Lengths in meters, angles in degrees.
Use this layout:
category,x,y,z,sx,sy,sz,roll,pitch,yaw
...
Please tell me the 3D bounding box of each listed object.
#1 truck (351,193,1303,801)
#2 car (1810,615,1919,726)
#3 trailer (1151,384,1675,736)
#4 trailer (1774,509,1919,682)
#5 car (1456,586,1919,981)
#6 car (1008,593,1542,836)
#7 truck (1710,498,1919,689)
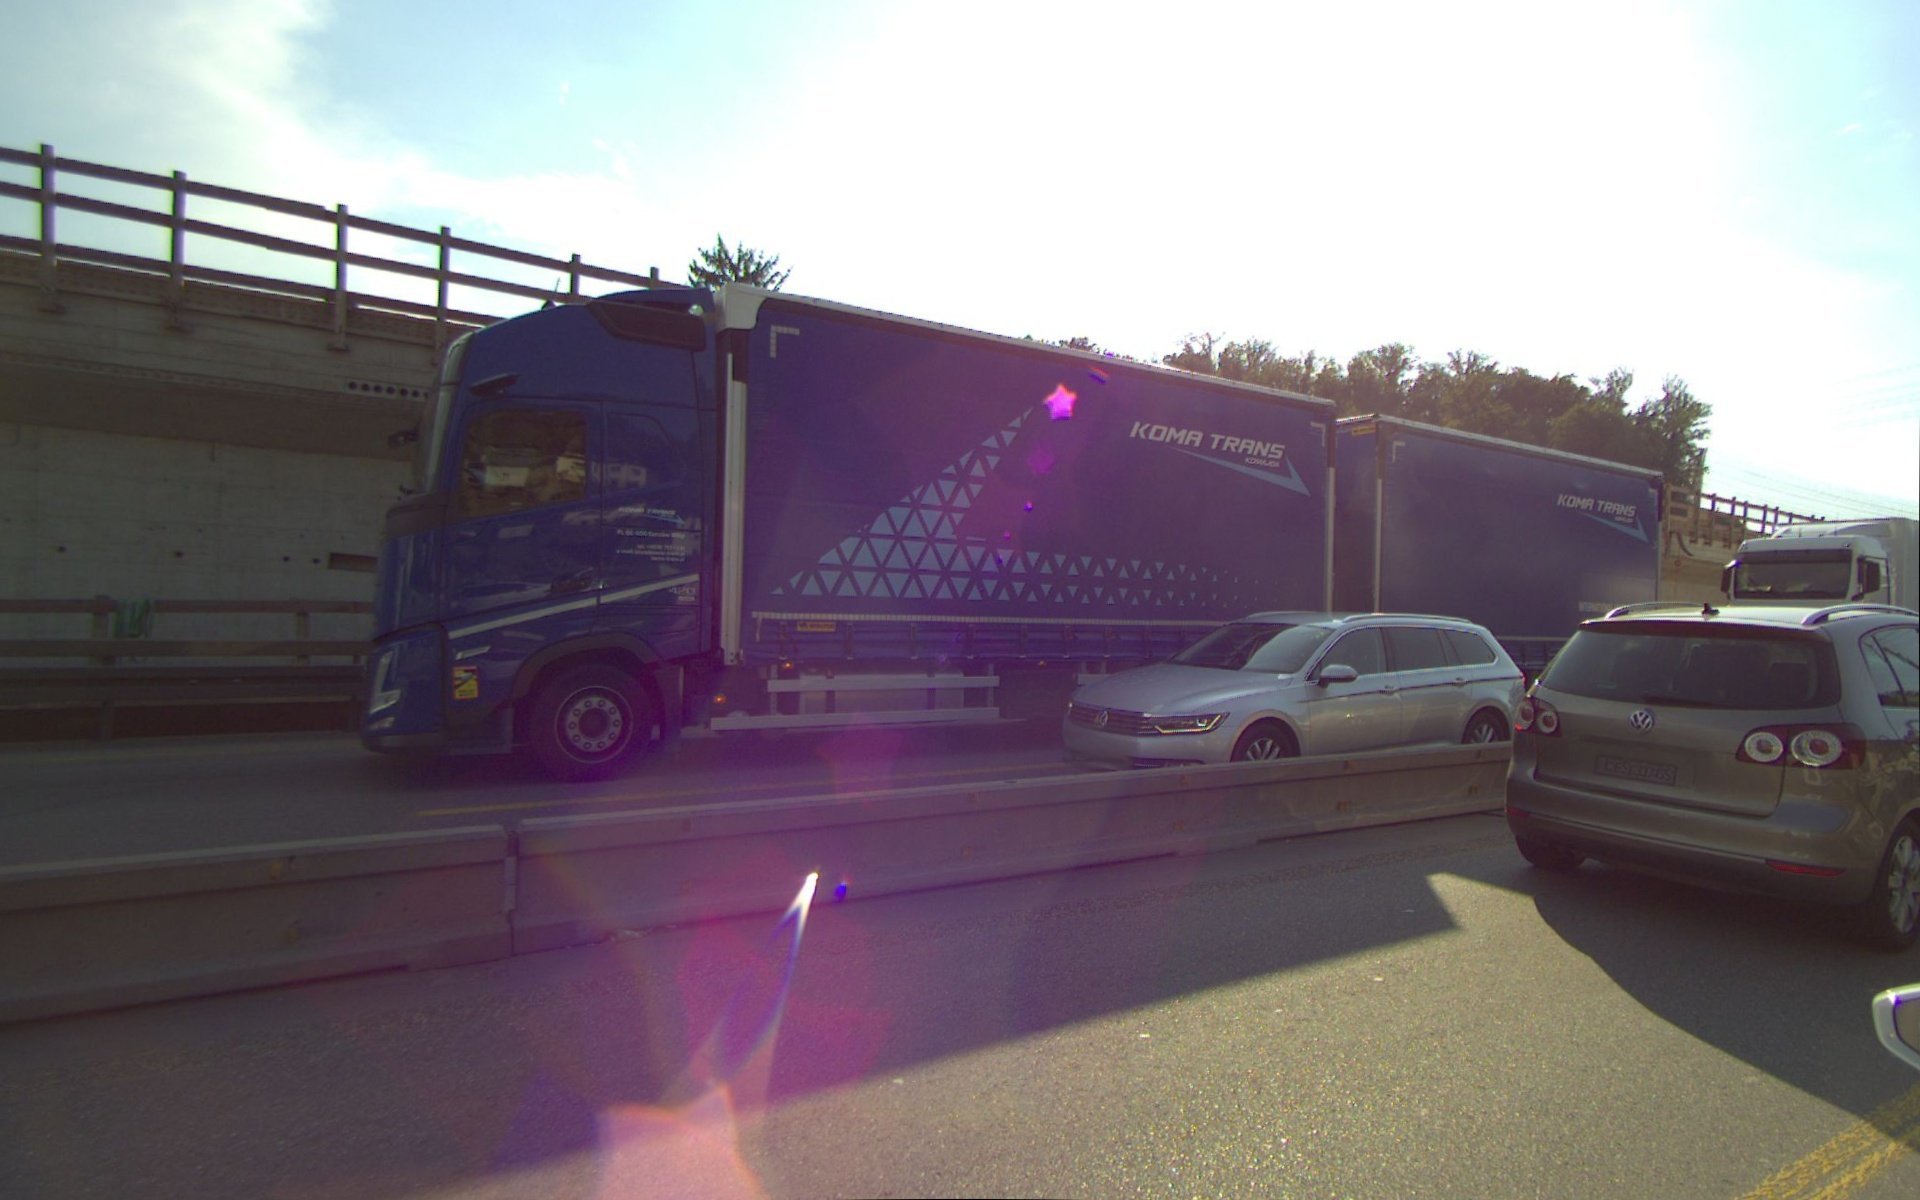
category,x,y,z,sx,sy,sz,roll,pitch,yaw
truck,-0.720,-0.601,10.488,9.518,4.167,2.610,2,0,-31
car,15.725,1.144,16.307,3.954,1.550,1.652,3,3,-31
trailer,7.390,-0.393,15.546,9.521,4.167,2.591,1,0,-32
trailer,27.443,0.044,28.443,12.431,4.147,2.694,3,3,-32
car,5.011,0.774,5.899,4.220,1.610,1.673,1,1,-30
car,2.743,0.846,8.492,4.350,1.557,1.764,3,1,-30
truck,21.334,-0.023,24.596,6.136,4.147,2.695,3,-1,-32
